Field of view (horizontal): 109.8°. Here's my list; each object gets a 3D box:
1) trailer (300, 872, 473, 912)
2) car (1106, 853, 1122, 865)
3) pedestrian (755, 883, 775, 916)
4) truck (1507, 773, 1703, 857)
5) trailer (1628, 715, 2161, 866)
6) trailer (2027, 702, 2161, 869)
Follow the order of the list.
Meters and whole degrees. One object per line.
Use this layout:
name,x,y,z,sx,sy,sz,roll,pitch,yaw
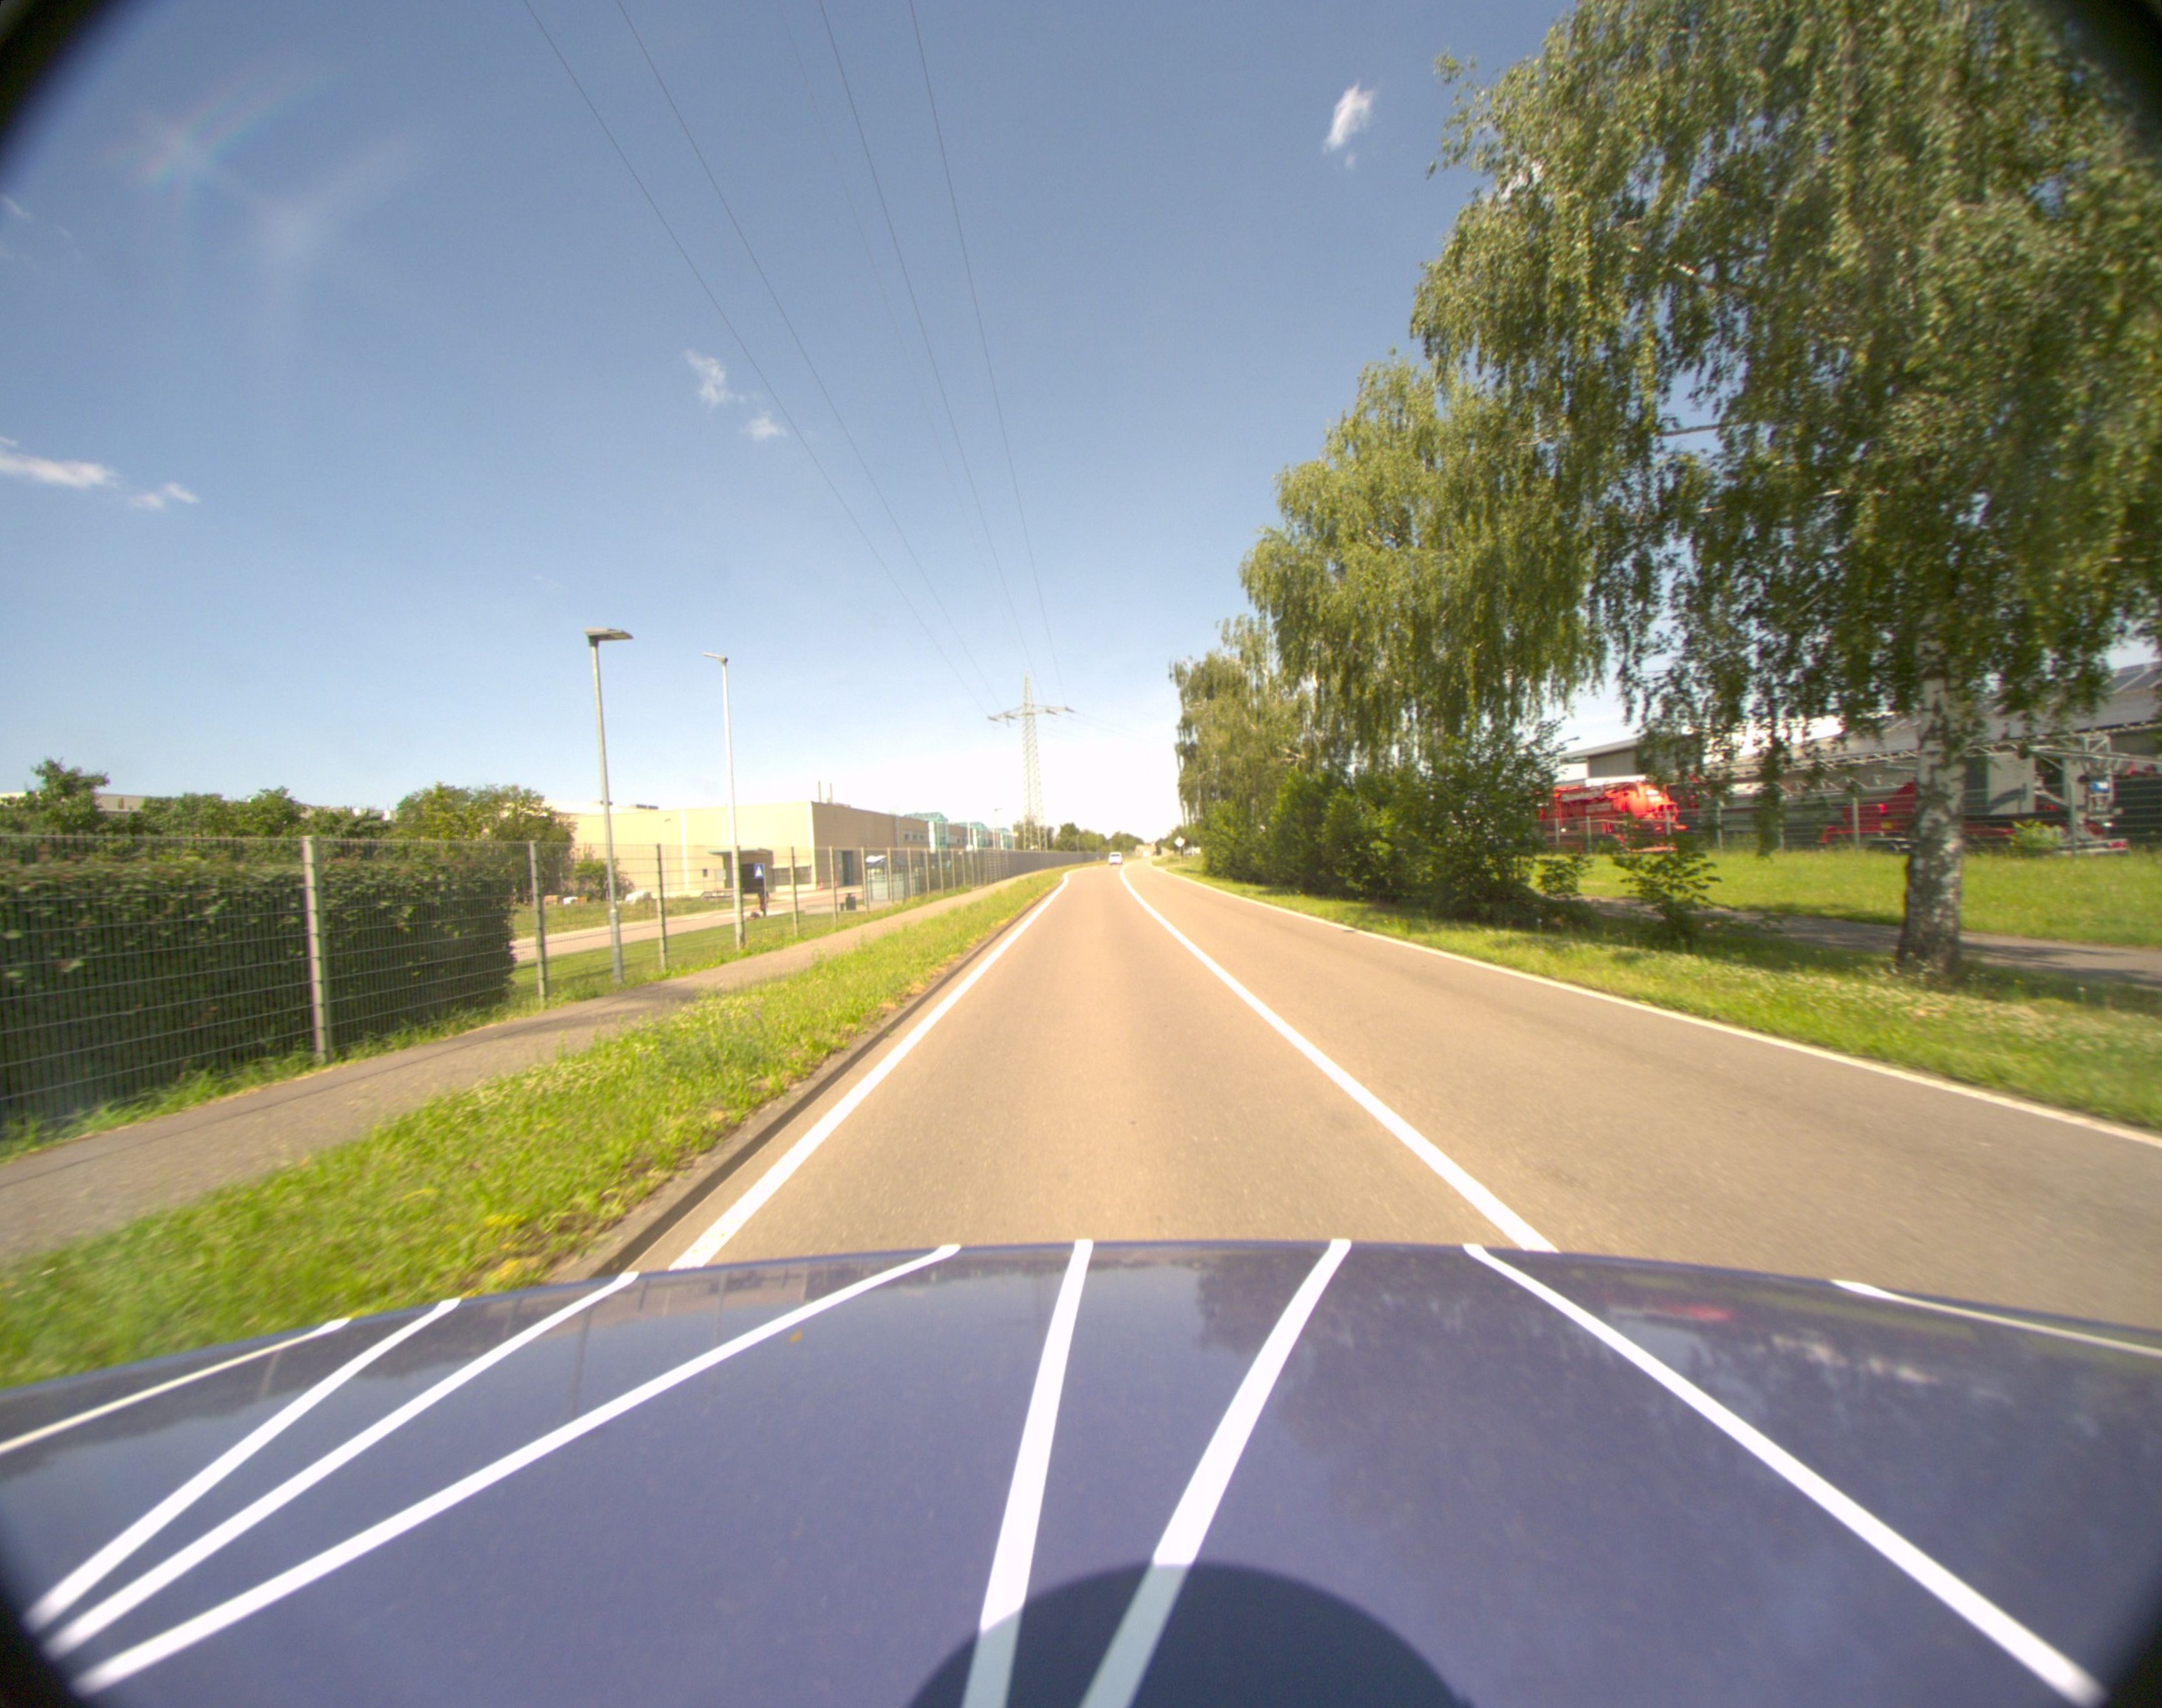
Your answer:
trailer,-62.293,3.286,69.010,1.998,2.697,14.099,-2,1,4
car,4.984,0.738,114.471,1.835,1.796,4.832,-2,0,7
pedestrian,-17.129,2.454,41.199,0.592,1.719,0.792,-4,1,1
truck,26.208,-1.796,38.990,3.108,3.624,10.595,-2,1,3
trailer,25.602,-1.651,26.260,3.298,3.624,14.926,-2,1,3
trailer,25.014,-1.516,14.501,3.407,3.624,8.659,-2,1,3
